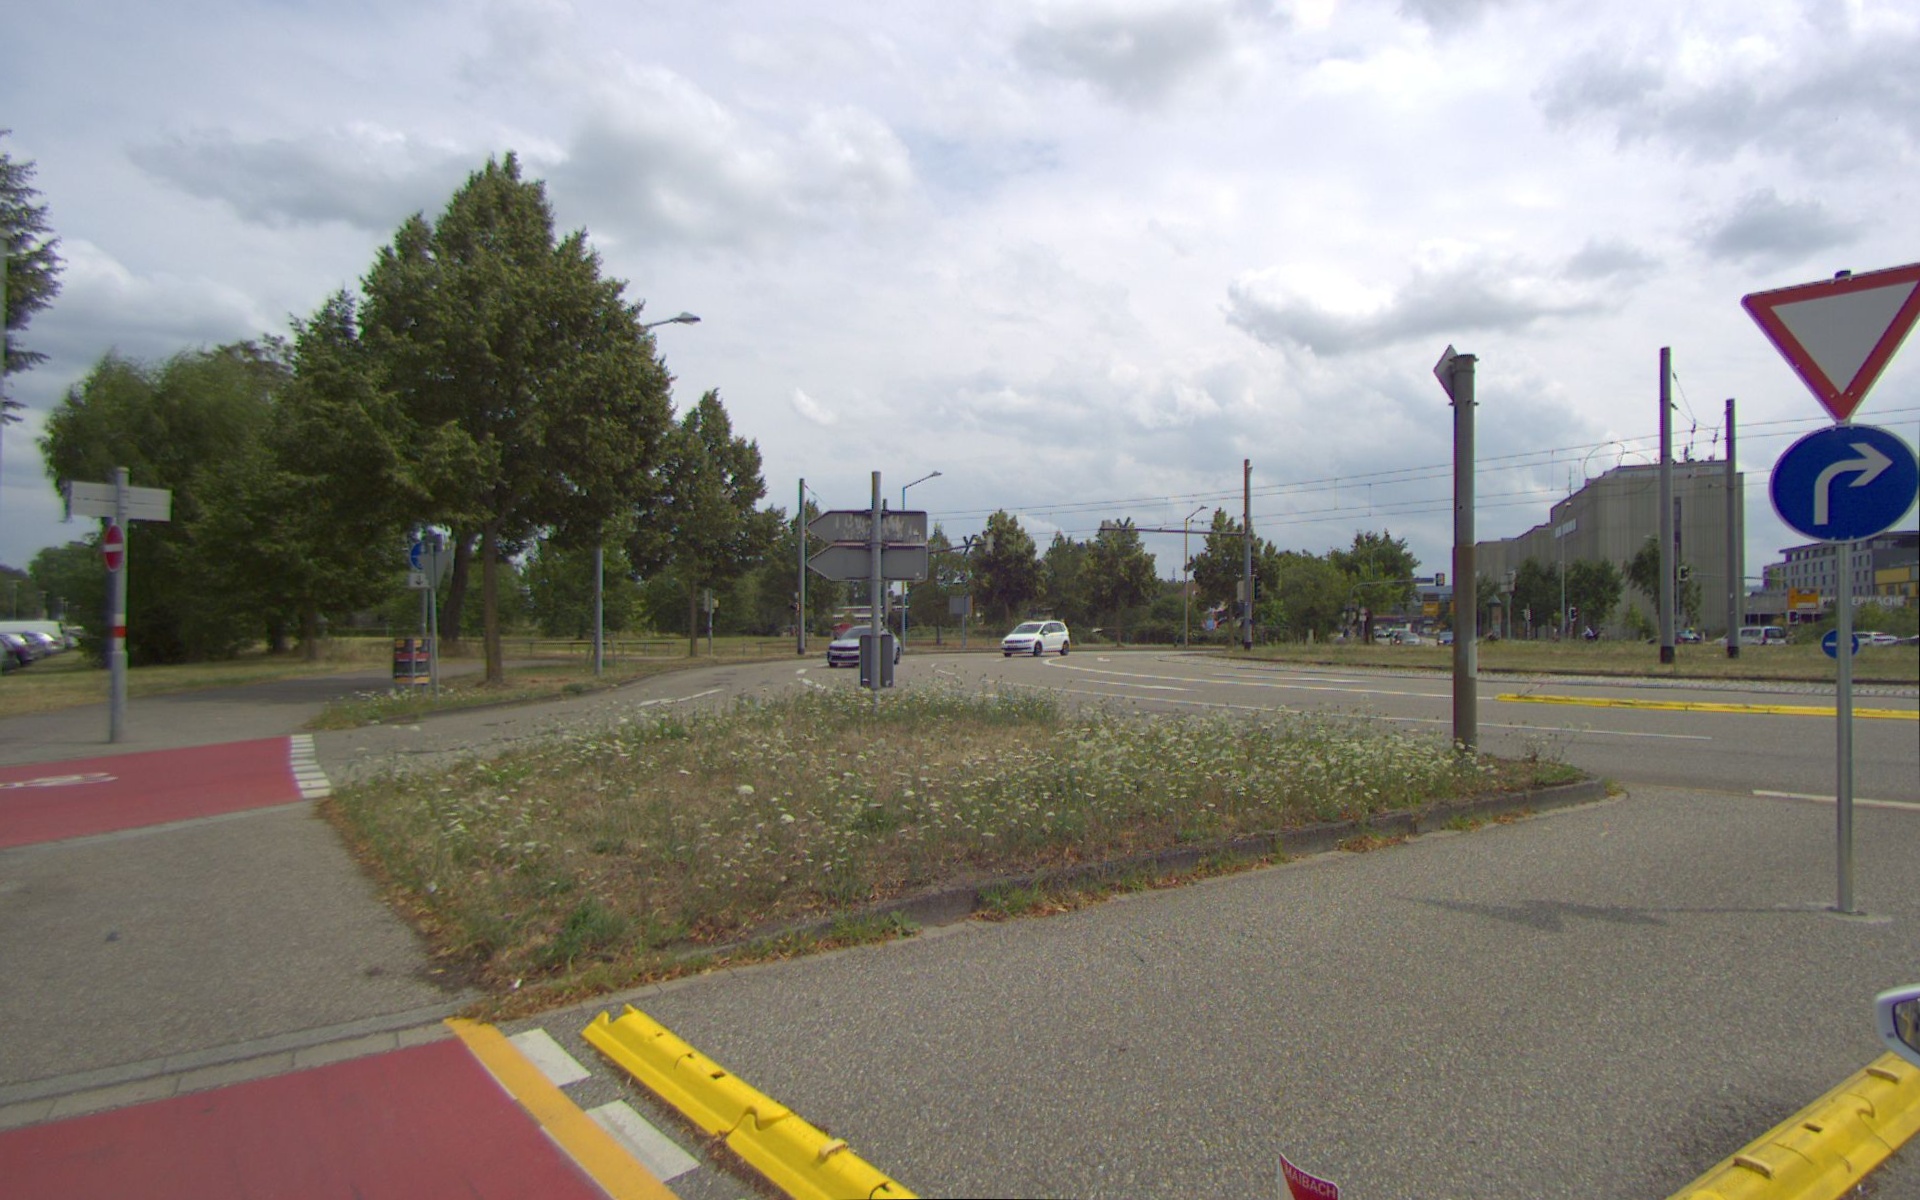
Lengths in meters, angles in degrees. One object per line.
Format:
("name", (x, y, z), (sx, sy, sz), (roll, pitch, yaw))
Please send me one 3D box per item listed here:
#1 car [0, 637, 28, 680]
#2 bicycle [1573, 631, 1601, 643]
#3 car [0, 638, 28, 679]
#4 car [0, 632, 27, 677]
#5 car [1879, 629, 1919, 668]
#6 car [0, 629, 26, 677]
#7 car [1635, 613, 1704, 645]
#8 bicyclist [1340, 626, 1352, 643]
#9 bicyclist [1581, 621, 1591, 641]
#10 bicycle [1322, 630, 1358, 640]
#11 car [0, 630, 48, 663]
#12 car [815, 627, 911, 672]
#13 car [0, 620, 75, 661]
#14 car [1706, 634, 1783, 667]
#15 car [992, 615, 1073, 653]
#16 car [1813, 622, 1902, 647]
("car", (-35.766, 2.053, 34.877), (4.848, 1.491, 1.812), (2, -2, -39))
("bicycle", (49.666, 2.917, 79.559), (1.807, 0.889, 0.528), (-1, -2, 40))
("car", (-37.231, 2.149, 36.590), (4.670, 1.491, 1.812), (2, -2, -39))
("car", (-34.178, 1.813, 33.114), (4.848, 1.491, 1.812), (2, -2, -39))
("car", (52.470, 2.650, 54.360), (3.945, 2.040, 1.988), (1, -2, 44))
("car", (-32.227, 1.738, 31.183), (4.671, 1.491, 1.810), (-1, 0, -42))
("car", (47.607, 1.943, 67.488), (1.960, 2.040, 4.002), (2, -1, 4))
("bicyclist", (31.697, 2.814, 82.529), (0.661, 1.428, 0.865), (0, -1, 4))
("bicyclist", (49.625, 2.461, 79.604), (0.641, 1.579, 0.528), (-1, -1, 40))
("bicycle", (31.232, 2.886, 82.574), (2.605, 0.866, 0.865), (0, -1, 4))
("car", (-45.058, 2.126, 46.357), (4.276, 1.491, 1.812), (2, -2, -39))
("car", (-3.421, 1.733, 36.458), (1.959, 1.502, 5.187), (0, -1, 13))
("car", (-49.806, 2.106, 52.290), (5.528, 2.083, 2.174), (2, -2, -42))
("car", (52.309, 3.352, 67.076), (1.960, 2.040, 4.364), (2, -1, 4))
("car", (3.493, 1.591, 47.800), (1.907, 1.687, 4.341), (-3, -2, 35))
("car", (56.791, 2.174, 63.667), (1.800, 1.483, 3.994), (2, -1, -8))
